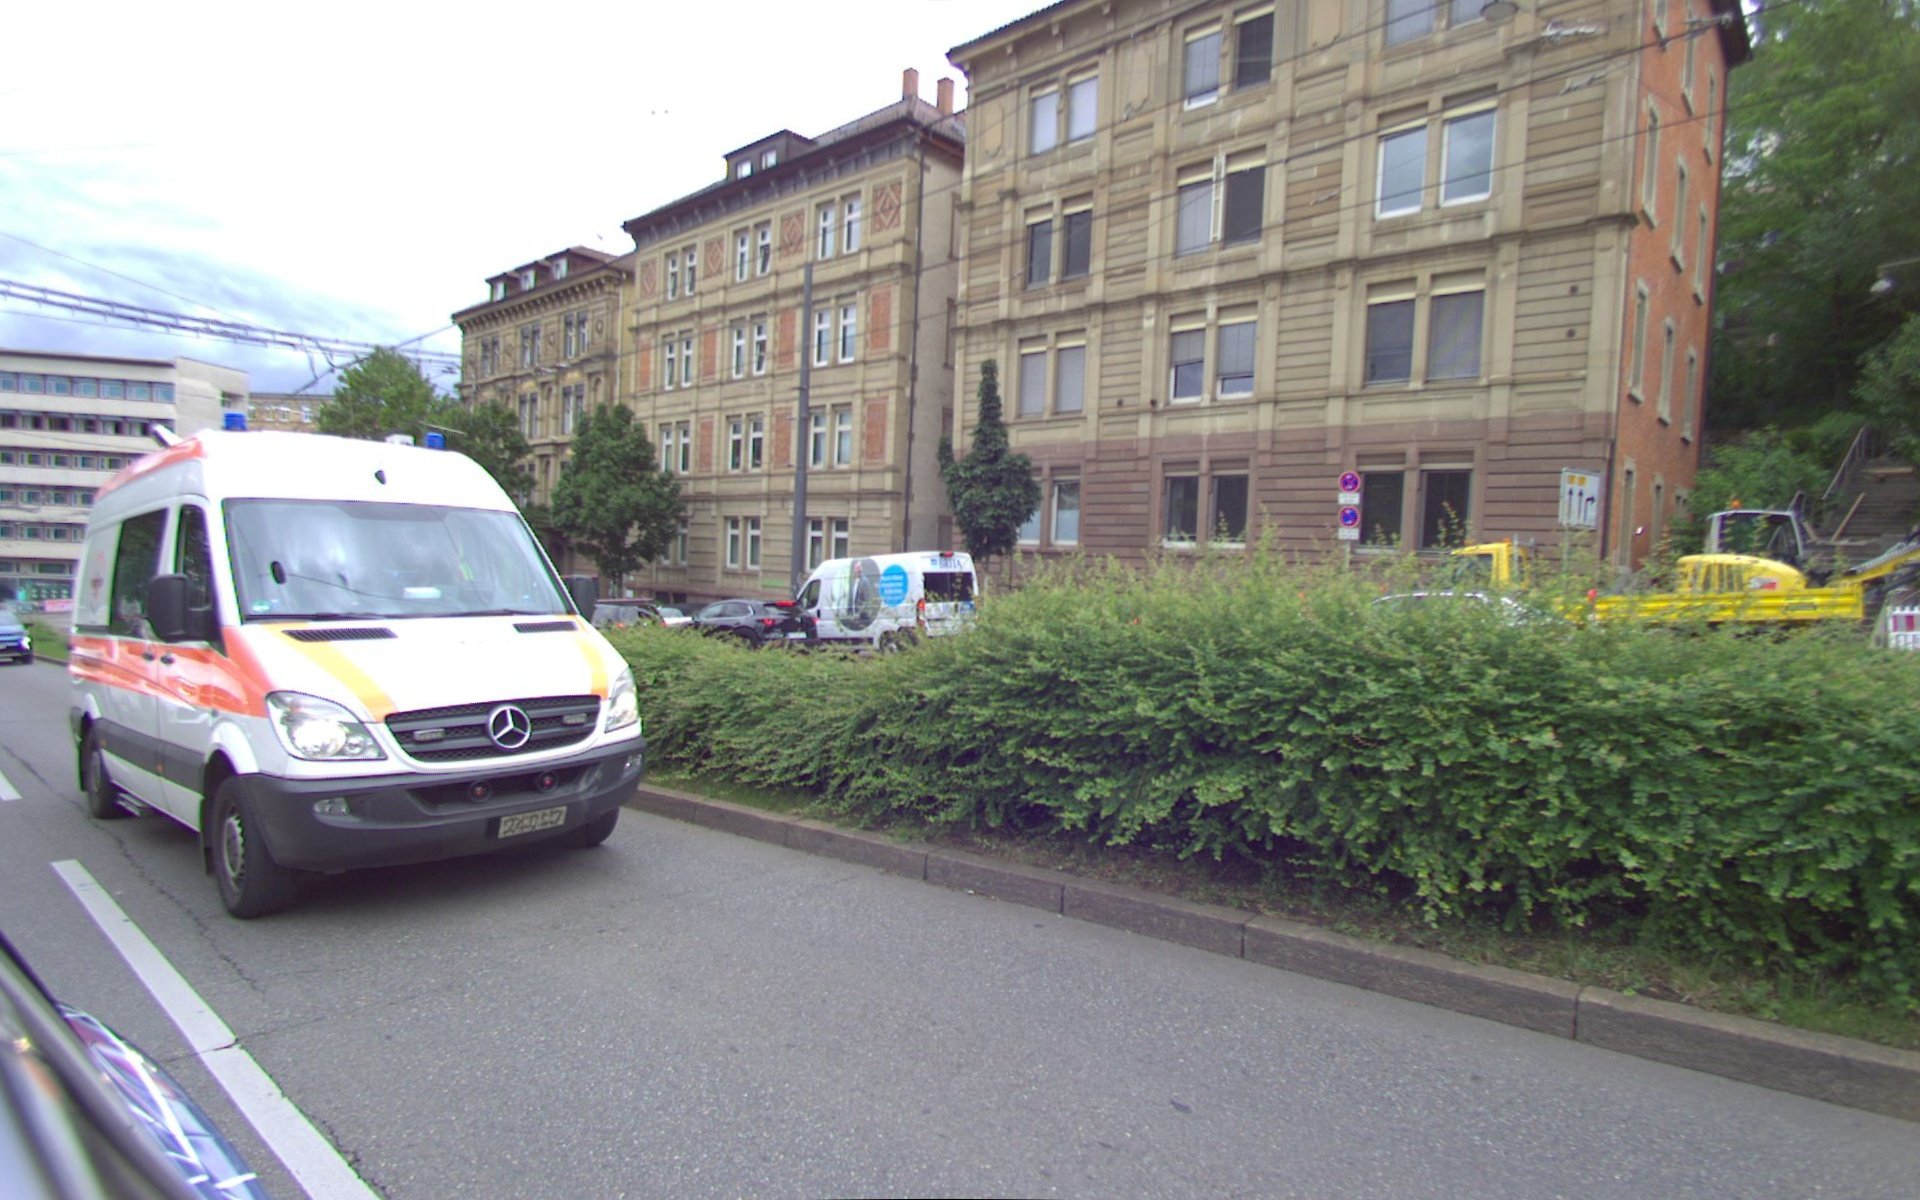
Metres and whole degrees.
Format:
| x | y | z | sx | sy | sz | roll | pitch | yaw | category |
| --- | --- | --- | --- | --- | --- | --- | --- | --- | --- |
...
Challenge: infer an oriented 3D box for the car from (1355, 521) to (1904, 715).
| x | y | z | sx | sy | sz | roll | pitch | yaw | category |
| --- | --- | --- | --- | --- | --- | --- | --- | --- | --- |
| 10.007 | 0.240 | 15.843 | 6.745 | 2.454 | 2.417 | -1 | 0 | 38 | car |

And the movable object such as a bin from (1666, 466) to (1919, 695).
| x | y | z | sx | sy | sz | roll | pitch | yaw | category |
| --- | --- | --- | --- | --- | --- | --- | --- | --- | --- |
| 15.866 | -0.295 | 16.822 | 6.526 | 3.575 | 2.726 | -1 | -1 | 31 | movable object such as a bin |

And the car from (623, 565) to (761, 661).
| x | y | z | sx | sy | sz | roll | pitch | yaw | category |
| --- | --- | --- | --- | --- | --- | --- | --- | --- | --- |
| -7.561 | 0.370 | 28.400 | 4.001 | 2.494 | 1.971 | -1 | -1 | 44 | car |

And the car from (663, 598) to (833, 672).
| x | y | z | sx | sy | sz | roll | pitch | yaw | category |
| --- | --- | --- | --- | --- | --- | --- | --- | --- | --- |
| -4.851 | 0.760 | 22.910 | 3.950 | 1.531 | 1.846 | -1 | -1 | 43 | car |

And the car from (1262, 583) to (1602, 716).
| x | y | z | sx | sy | sz | roll | pitch | yaw | category |
| --- | --- | --- | --- | --- | --- | --- | --- | --- | --- |
| 6.373 | 0.616 | 13.831 | 3.991 | 1.579 | 1.688 | -1 | -1 | 35 | car |

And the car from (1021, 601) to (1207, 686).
| x | y | z | sx | sy | sz | roll | pitch | yaw | category |
| --- | --- | --- | --- | --- | --- | --- | --- | --- | --- |
| 2.900 | 0.792 | 19.703 | 1.622 | 1.465 | 3.575 | -1 | -1 | -32 | car |

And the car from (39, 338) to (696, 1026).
| x | y | z | sx | sy | sz | roll | pitch | yaw | category |
| --- | --- | --- | --- | --- | --- | --- | --- | --- | --- |
| -4.306 | 0.355 | 6.703 | 5.851 | 2.720 | 2.012 | -1 | 0 | 41 | car |

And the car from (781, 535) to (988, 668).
| x | y | z | sx | sy | sz | roll | pitch | yaw | category |
| --- | --- | --- | --- | --- | --- | --- | --- | --- | --- |
| -1.871 | 0.062 | 24.002 | 4.782 | 2.844 | 2.186 | -1 | -1 | 41 | car |

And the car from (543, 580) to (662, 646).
| x | y | z | sx | sy | sz | roll | pitch | yaw | category |
| --- | --- | --- | --- | --- | --- | --- | --- | --- | --- |
| -11.410 | 0.421 | 32.222 | 3.437 | 1.954 | 2.289 | -1 | -1 | 44 | car |

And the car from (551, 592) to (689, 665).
| x | y | z | sx | sy | sz | roll | pitch | yaw | category |
| --- | --- | --- | --- | --- | --- | --- | --- | --- | --- |
| -9.008 | 0.724 | 26.663 | 4.001 | 1.763 | 1.816 | -1 | -1 | 44 | car |

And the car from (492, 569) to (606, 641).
| x | y | z | sx | sy | sz | roll | pitch | yaw | category |
| --- | --- | --- | --- | --- | --- | --- | --- | --- | --- |
| -14.129 | 0.191 | 34.694 | 4.001 | 2.305 | 2.211 | -1 | -1 | 44 | car |

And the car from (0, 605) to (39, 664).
| x | y | z | sx | sy | sz | roll | pitch | yaw | category |
| --- | --- | --- | --- | --- | --- | --- | --- | --- | --- |
| -27.609 | 0.974 | 28.687 | 4.181 | 1.584 | 1.905 | -1 | 1 | 44 | car |

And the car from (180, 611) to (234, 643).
| x | y | z | sx | sy | sz | roll | pitch | yaw | category |
| --- | --- | --- | --- | --- | --- | --- | --- | --- | --- |
| -40.008 | 1.423 | 53.764 | 3.844 | 1.641 | 1.658 | -1 | -1 | 43 | car |
